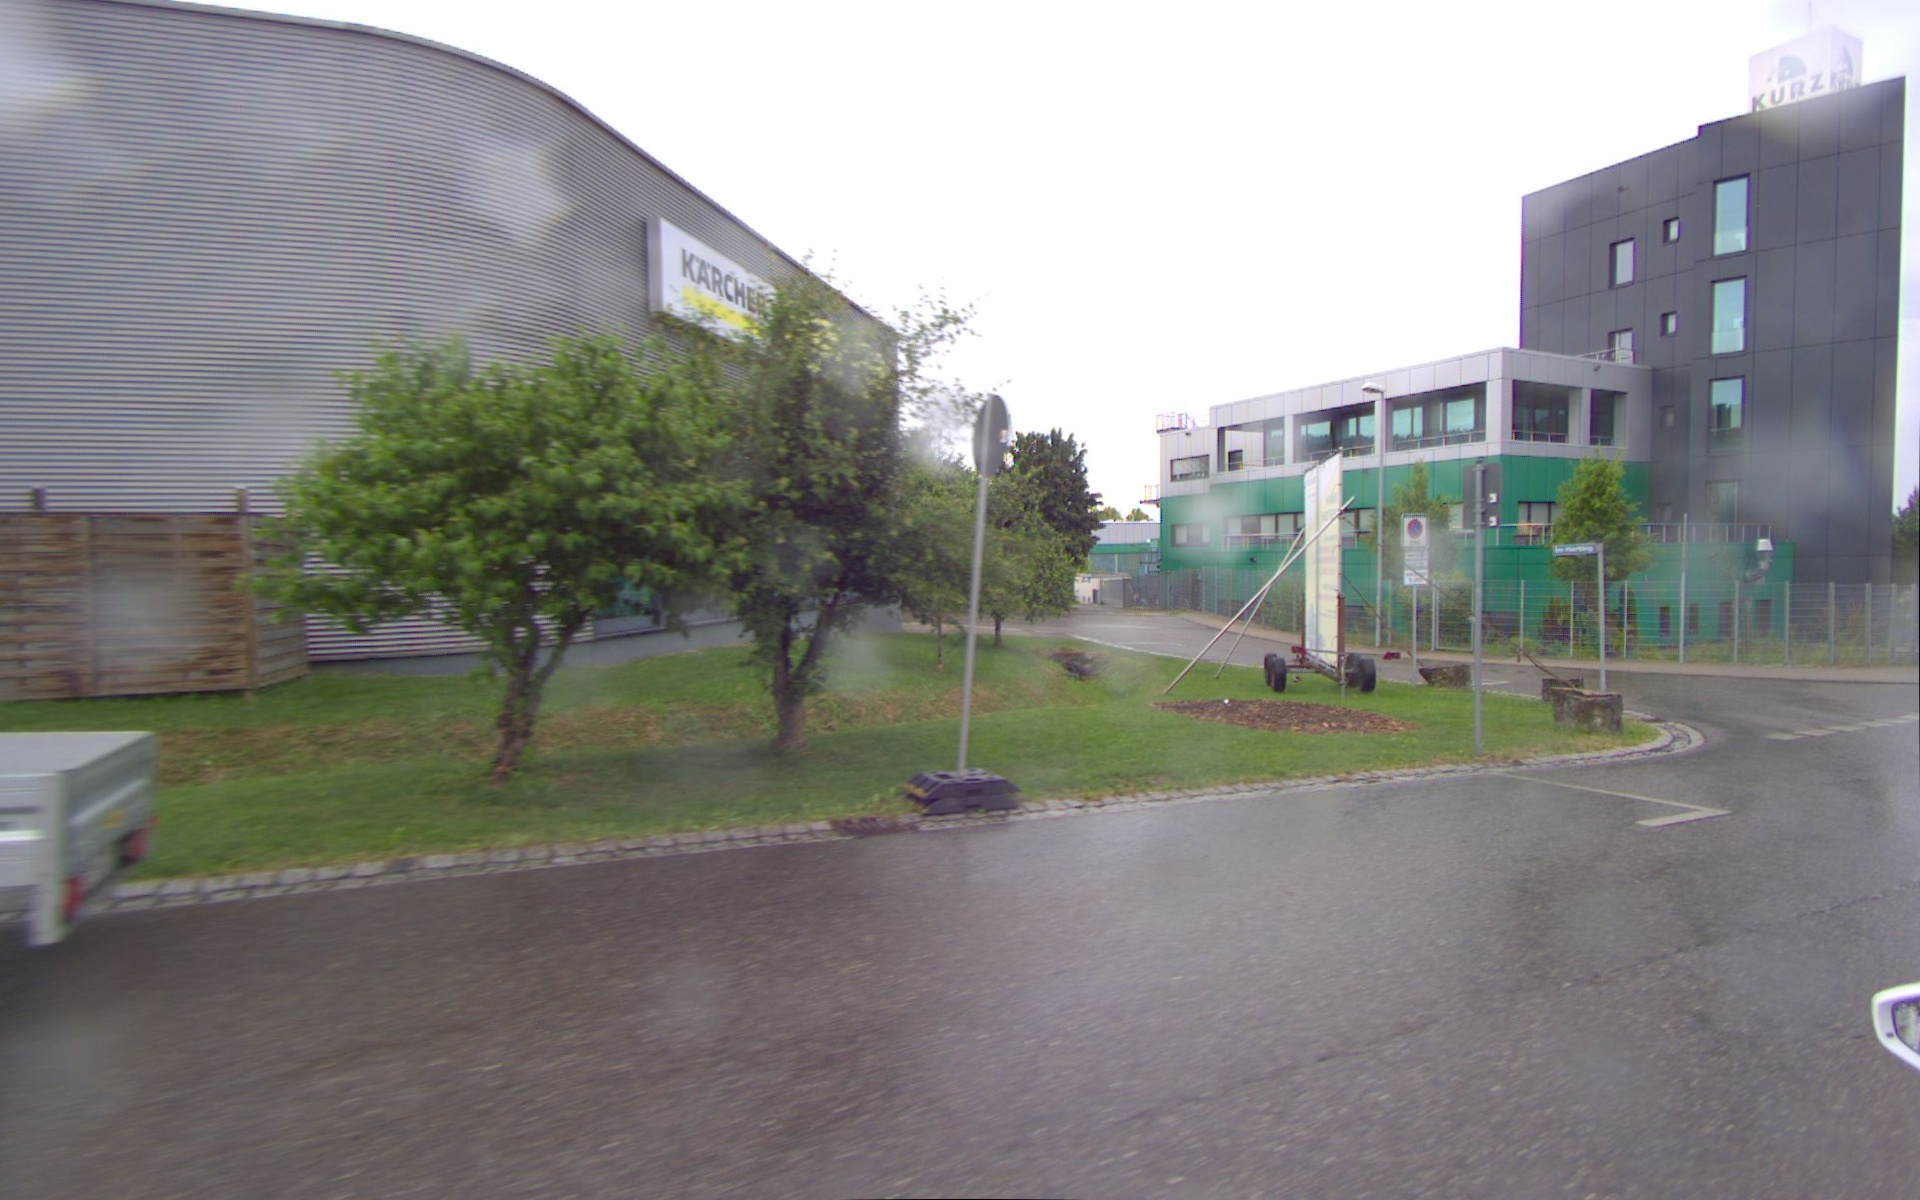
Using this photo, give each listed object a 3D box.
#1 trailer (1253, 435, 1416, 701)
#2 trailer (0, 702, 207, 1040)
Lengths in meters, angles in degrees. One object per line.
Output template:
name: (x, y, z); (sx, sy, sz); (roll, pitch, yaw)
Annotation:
trailer: (6.653, -0.513, 18.320); (1.965, 4.259, 4.189); (1, 0, 10)
trailer: (-4.885, 0.893, 3.122); (3.851, 0.900, 1.672); (2, 0, -30)
